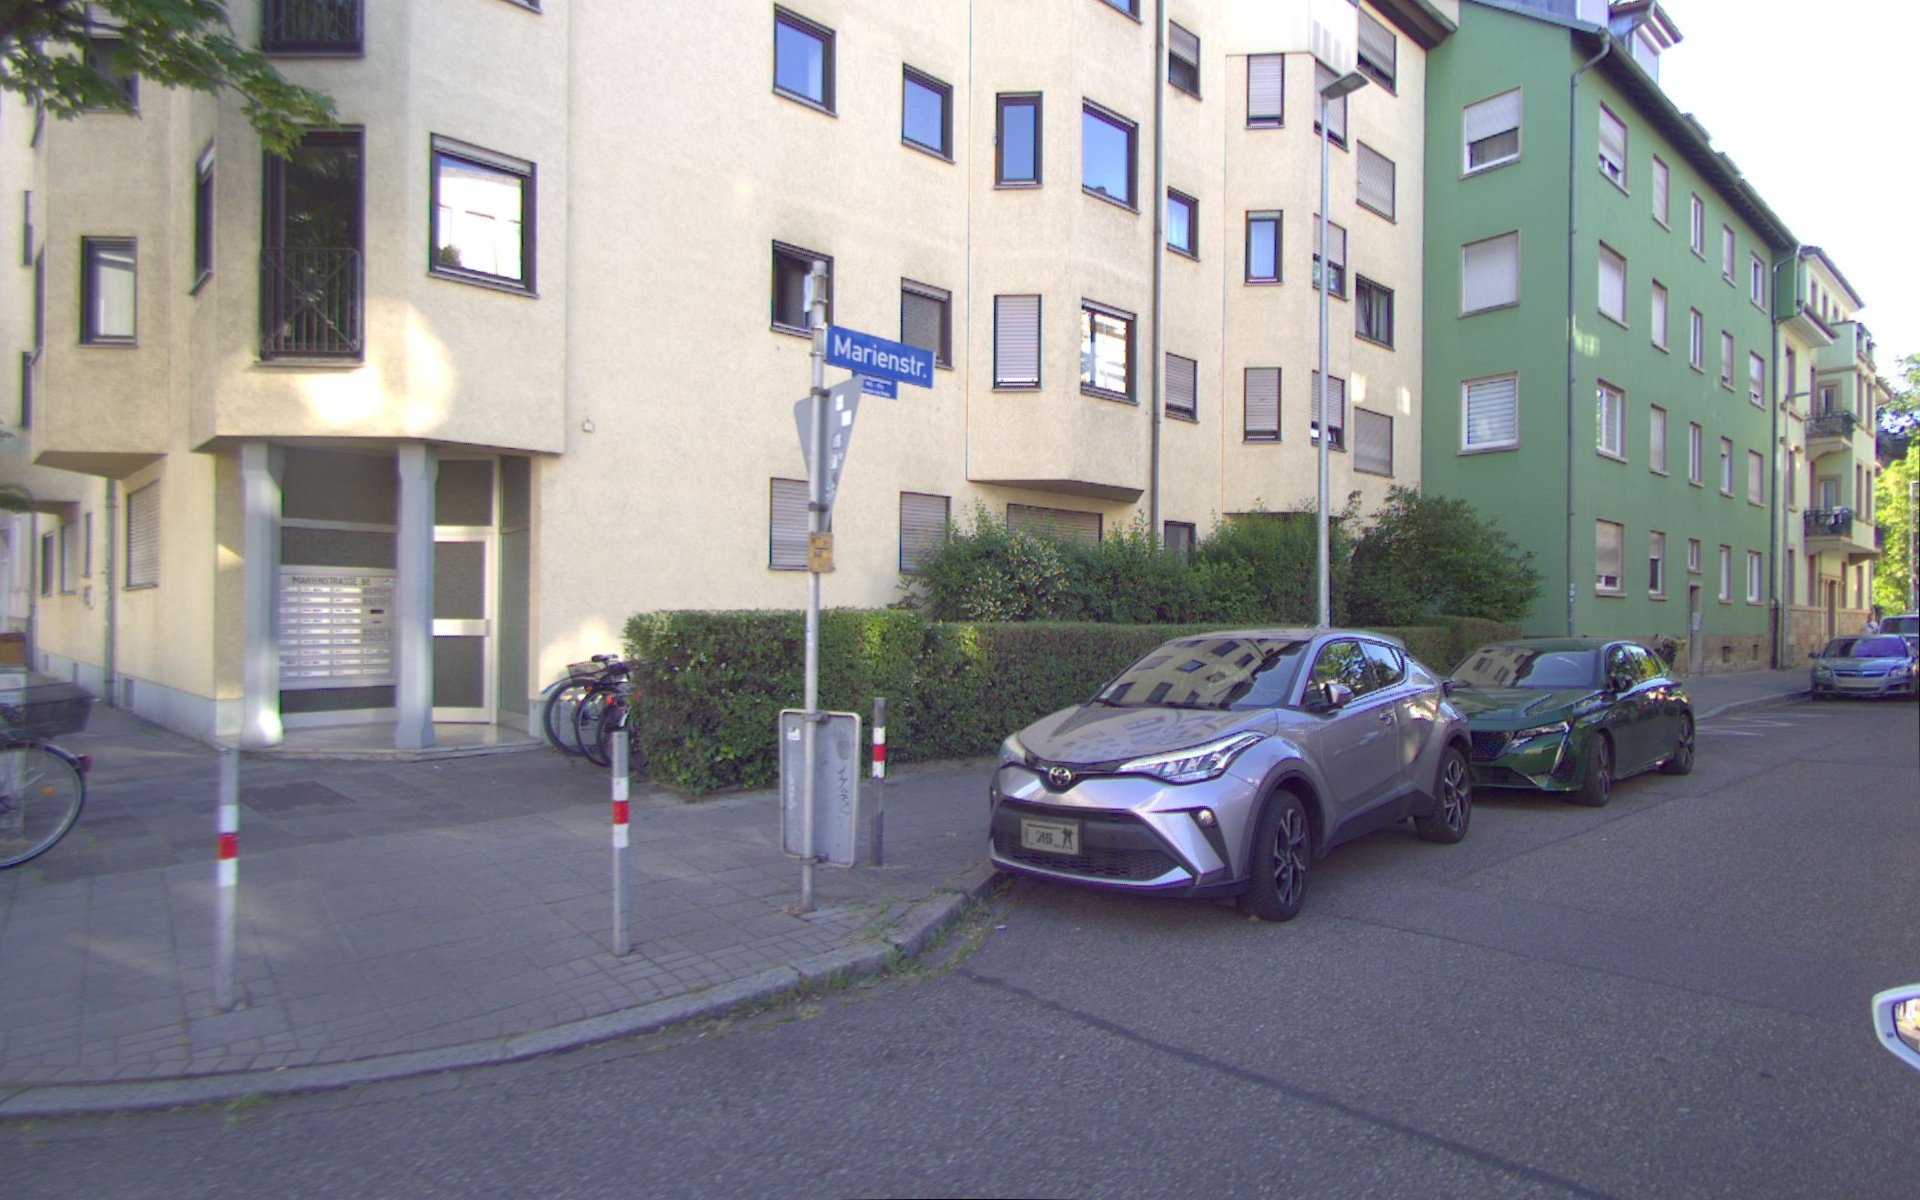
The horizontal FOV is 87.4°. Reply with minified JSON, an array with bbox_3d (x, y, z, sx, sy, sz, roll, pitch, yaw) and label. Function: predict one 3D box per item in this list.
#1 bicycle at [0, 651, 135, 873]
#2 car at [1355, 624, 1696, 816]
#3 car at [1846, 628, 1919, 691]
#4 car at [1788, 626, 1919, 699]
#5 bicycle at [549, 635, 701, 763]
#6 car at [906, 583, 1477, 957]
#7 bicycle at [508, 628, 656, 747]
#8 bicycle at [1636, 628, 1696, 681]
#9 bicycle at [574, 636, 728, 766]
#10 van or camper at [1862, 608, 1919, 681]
[{"bbox_3d":[-5.344,0.833,5.044,0.587,1.099,1.800,0,-1,44],"label":"bicycle"},{"bbox_3d":[5.749,1.027,9.998,4.104,1.516,1.737,2,-3,-42],"label":"car"},{"bbox_3d":[23.887,1.467,25.527,3.683,1.473,1.671,1,-2,-42],"label":"car"},{"bbox_3d":[20.174,1.329,22.568,4.086,1.475,1.960,1,-2,-44],"label":"car"},{"bbox_3d":[-3.108,0.888,9.422,0.327,1.060,1.386,0,1,40],"label":"bicycle"},{"bbox_3d":[1.738,0.842,6.630,1.884,1.681,3.975,-2,-3,44],"label":"car"},{"bbox_3d":[-3.715,0.830,9.964,0.327,1.060,1.386,0,1,40],"label":"bicycle"},{"bbox_3d":[16.983,1.290,24.139,2.260,1.194,0.546,1,2,-40],"label":"bicycle"},{"bbox_3d":[-2.805,0.887,9.226,0.327,1.060,1.386,0,1,40],"label":"bicycle"},{"bbox_3d":[28.577,1.295,29.847,4.871,2.040,1.977,1,-1,-40],"label":"van or camper"}]
